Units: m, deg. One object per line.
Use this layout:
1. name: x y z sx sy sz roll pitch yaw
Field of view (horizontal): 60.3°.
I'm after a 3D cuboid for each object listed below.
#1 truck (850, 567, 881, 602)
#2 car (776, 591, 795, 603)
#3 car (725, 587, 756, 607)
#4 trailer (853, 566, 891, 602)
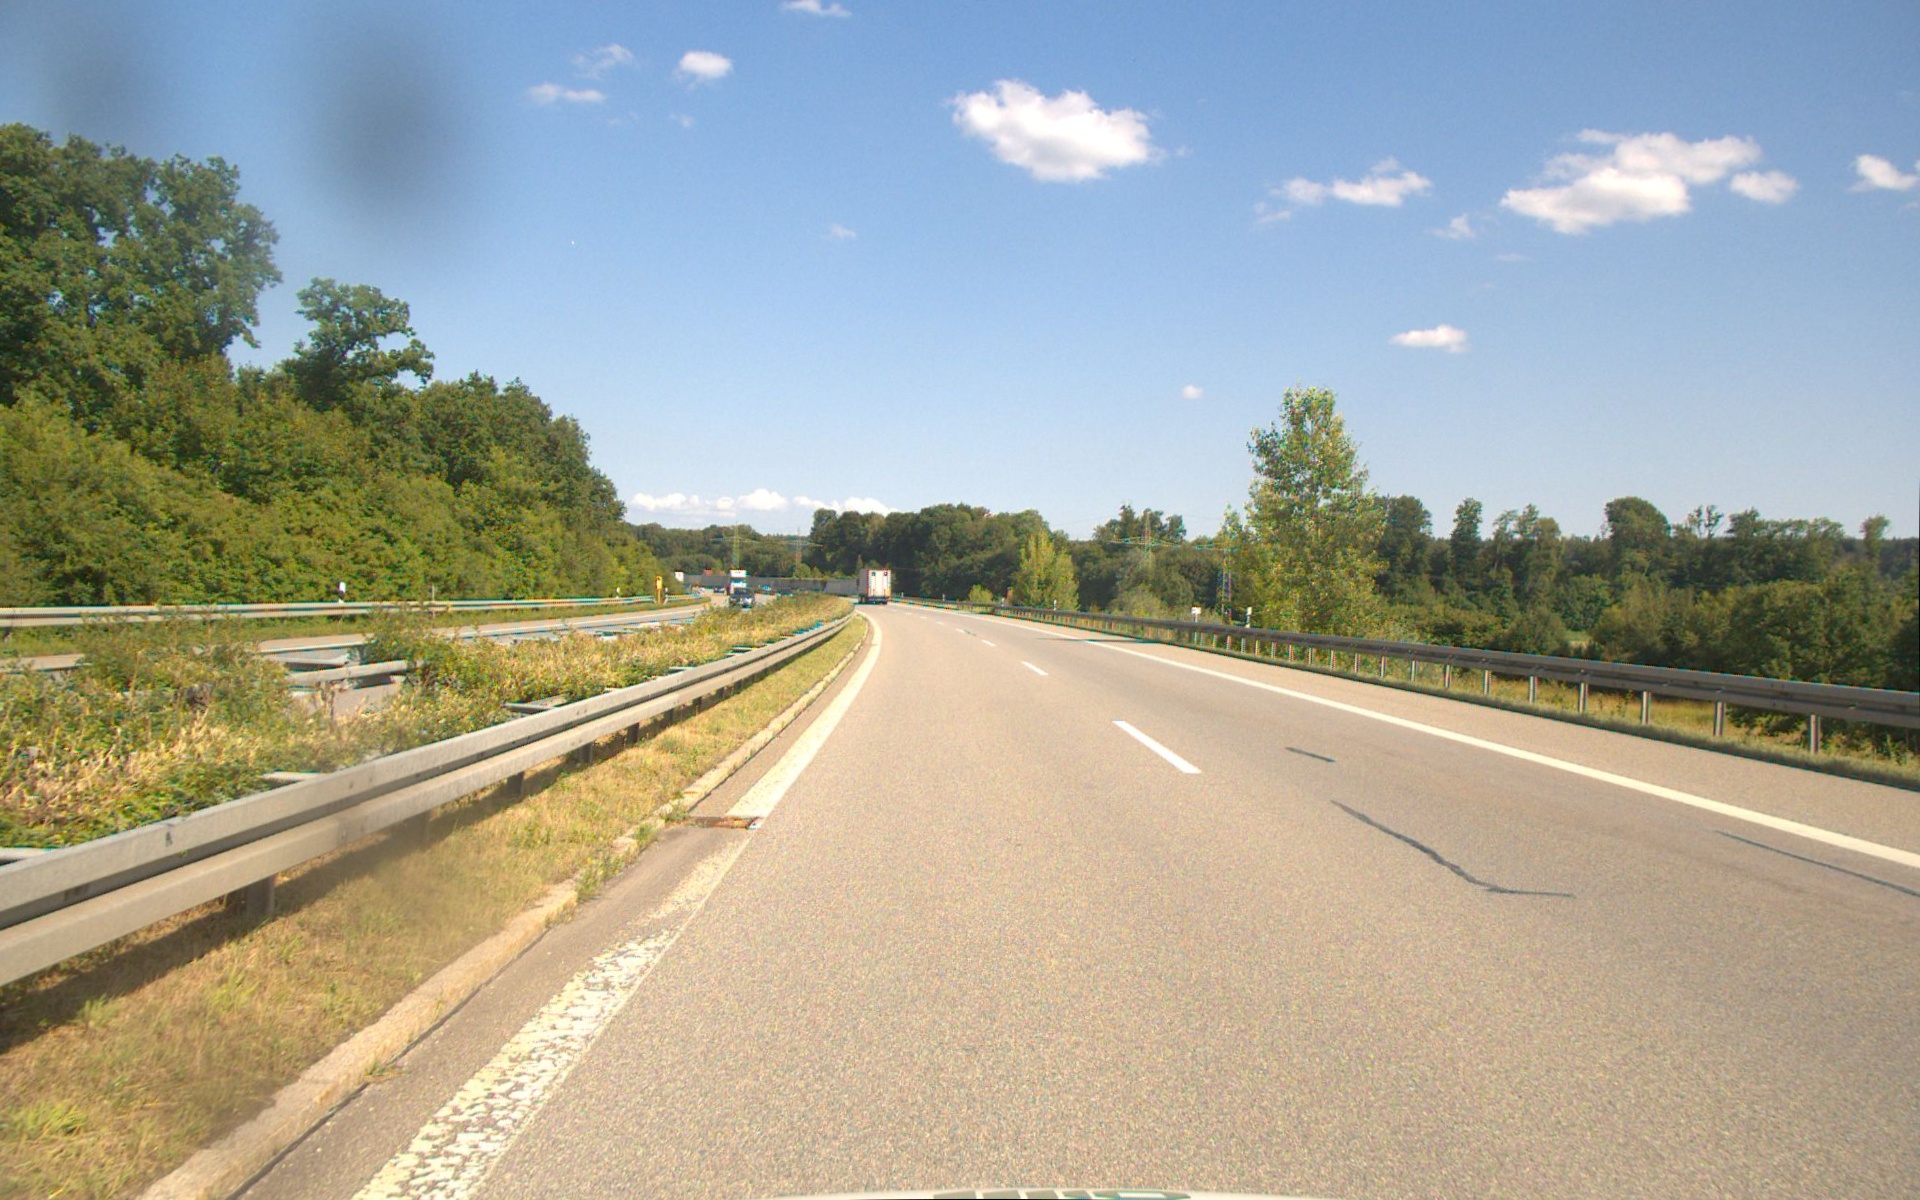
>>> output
1. truck: -11.575 -1.905 201.273 2.781 4.082 6.567 0 1 -12
2. car: -20.122 -0.355 190.892 1.699 1.453 3.869 0 0 -13
3. car: -16.193 -0.253 122.138 1.954 1.457 4.484 0 1 -4
4. trailer: -10.466 -1.910 195.455 2.832 4.137 12.388 0 1 -11
